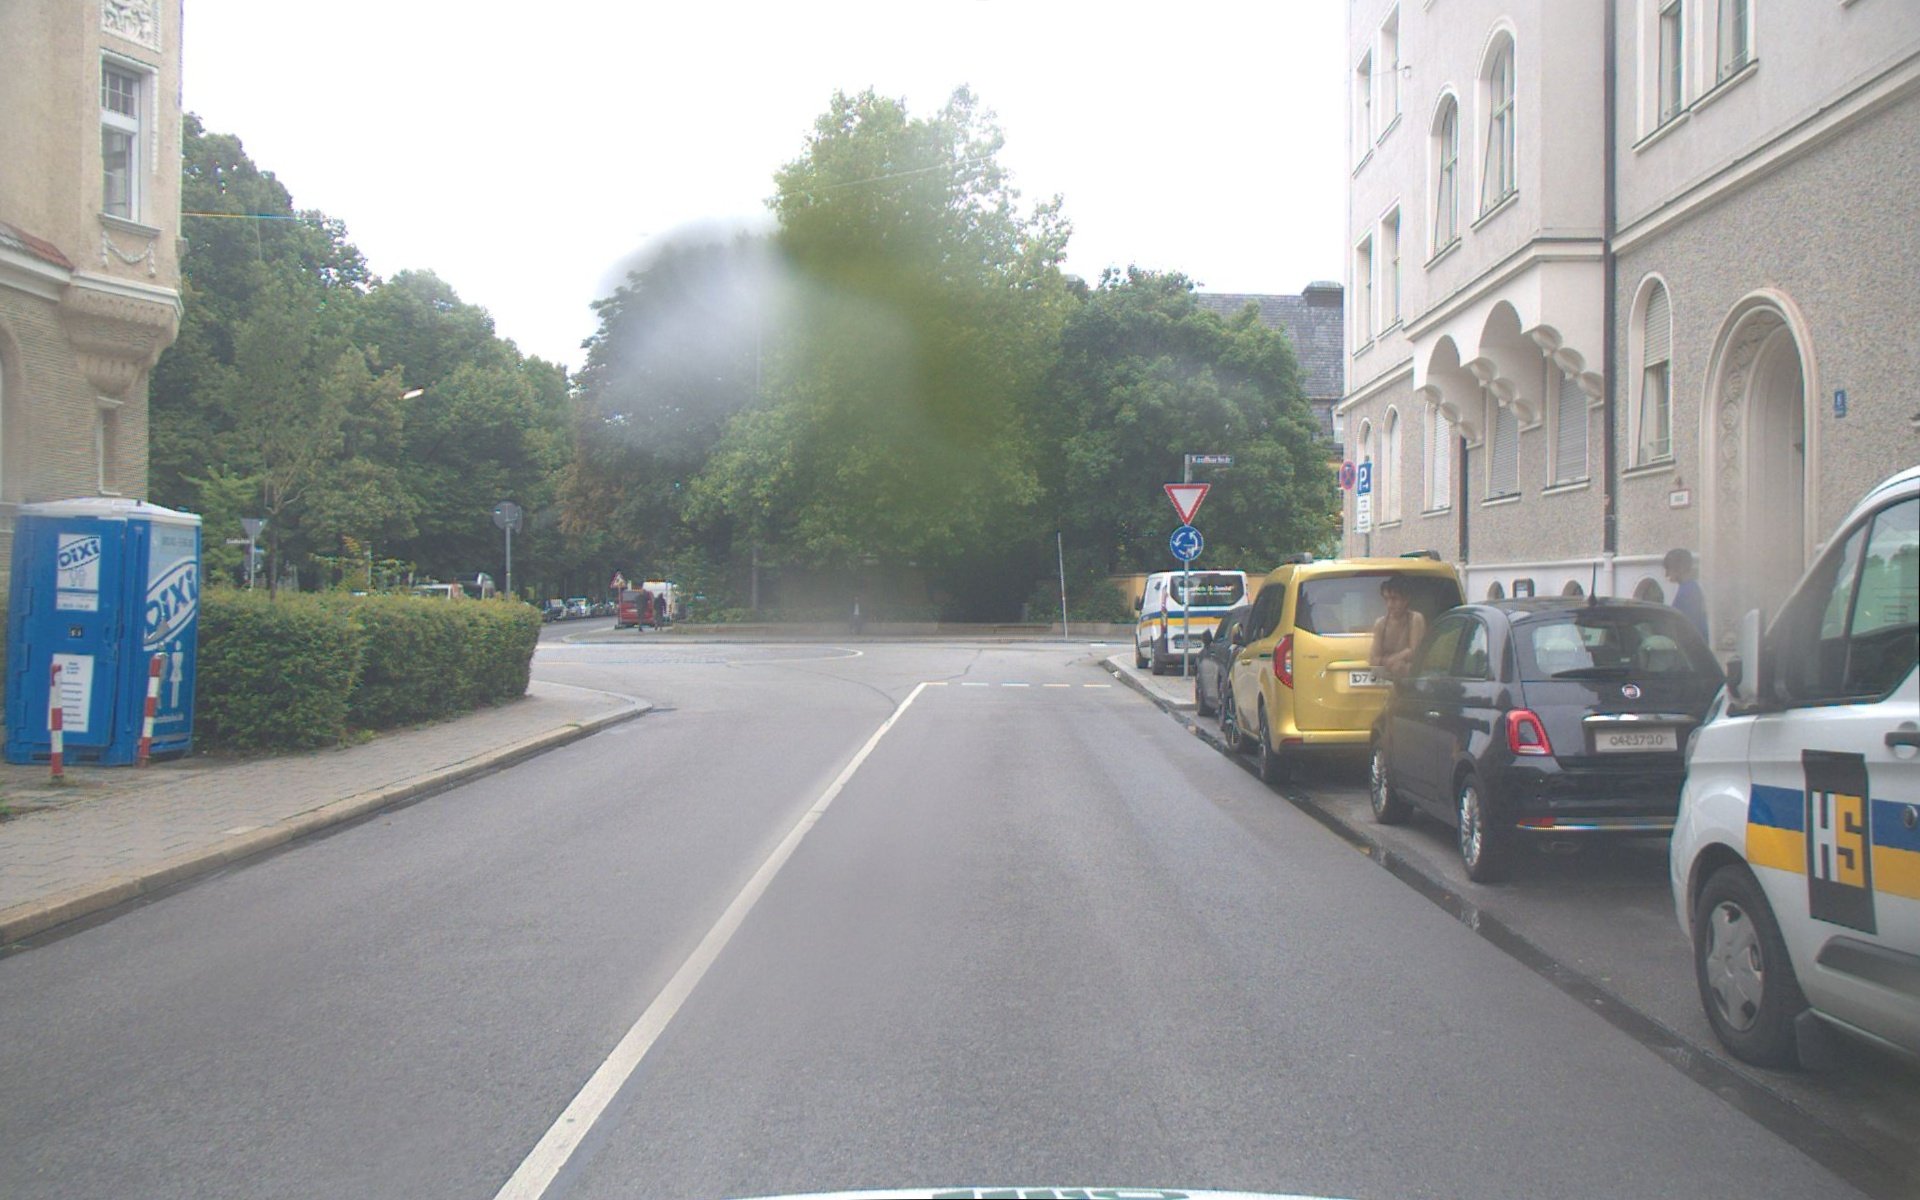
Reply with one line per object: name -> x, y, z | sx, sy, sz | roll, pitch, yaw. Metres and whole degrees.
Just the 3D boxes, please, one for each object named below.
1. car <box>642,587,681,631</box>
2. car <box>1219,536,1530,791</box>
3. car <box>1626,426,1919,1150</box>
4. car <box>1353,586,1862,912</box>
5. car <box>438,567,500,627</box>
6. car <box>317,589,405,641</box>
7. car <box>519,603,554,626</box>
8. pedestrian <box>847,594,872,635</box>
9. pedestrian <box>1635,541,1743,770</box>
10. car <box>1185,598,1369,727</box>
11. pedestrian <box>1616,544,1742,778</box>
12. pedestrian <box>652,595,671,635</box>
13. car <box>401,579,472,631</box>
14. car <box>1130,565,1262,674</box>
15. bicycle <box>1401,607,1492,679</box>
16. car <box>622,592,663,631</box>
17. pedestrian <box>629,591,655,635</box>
car -> -18.341, 0.539, 101.813 | 1.955, 2.603, 5.423 | 0, 0, -6
car -> 3.549, 0.487, 15.029 | 1.951, 1.952, 4.573 | -1, 0, 4
car -> 3.561, 0.500, 3.935 | 1.953, 1.952, 4.886 | -1, 0, 0
car -> 3.525, 0.697, 9.772 | 1.599, 1.540, 3.886 | 0, 0, 2
car -> -25.998, -0.153, 87.712 | 2.131, 3.055, 6.223 | 0, 0, -7
car -> -23.300, 0.567, 64.480 | 2.043, 1.937, 4.853 | 0, 0, -5
car -> -28.741, 0.999, 112.412 | 1.957, 1.513, 4.120 | 0, 0, -9
pedestrian -> -3.418, 0.479, 56.362 | 0.753, 1.380, 1.132 | 0, 0, 2
pedestrian -> 5.597, 0.418, 12.718 | 0.625, 1.732, 0.455 | 0, 0, 0
car -> 3.903, 0.712, 20.921 | 1.677, 1.470, 3.828 | -1, 0, 2
pedestrian -> 5.559, 0.457, 12.821 | 0.643, 1.759, 0.759 | 0, 0, 0
pedestrian -> -12.780, 0.627, 70.799 | 0.626, 1.696, 0.690 | 0, 0, -29
car -> -24.864, 0.219, 78.793 | 2.044, 2.304, 5.595 | -2, 0, -6
car -> 4.639, 0.349, 33.253 | 1.898, 1.955, 5.375 | -1, 0, 1
bicycle -> 8.563, 0.737, 29.245 | 0.821, 1.132, 2.758 | -4, 0, 2
car -> -16.547, 0.594, 86.370 | 1.876, 1.971, 4.959 | 0, 0, -9
pedestrian -> -13.654, 0.557, 70.991 | 0.812, 1.868, 0.941 | 0, 0, -34
